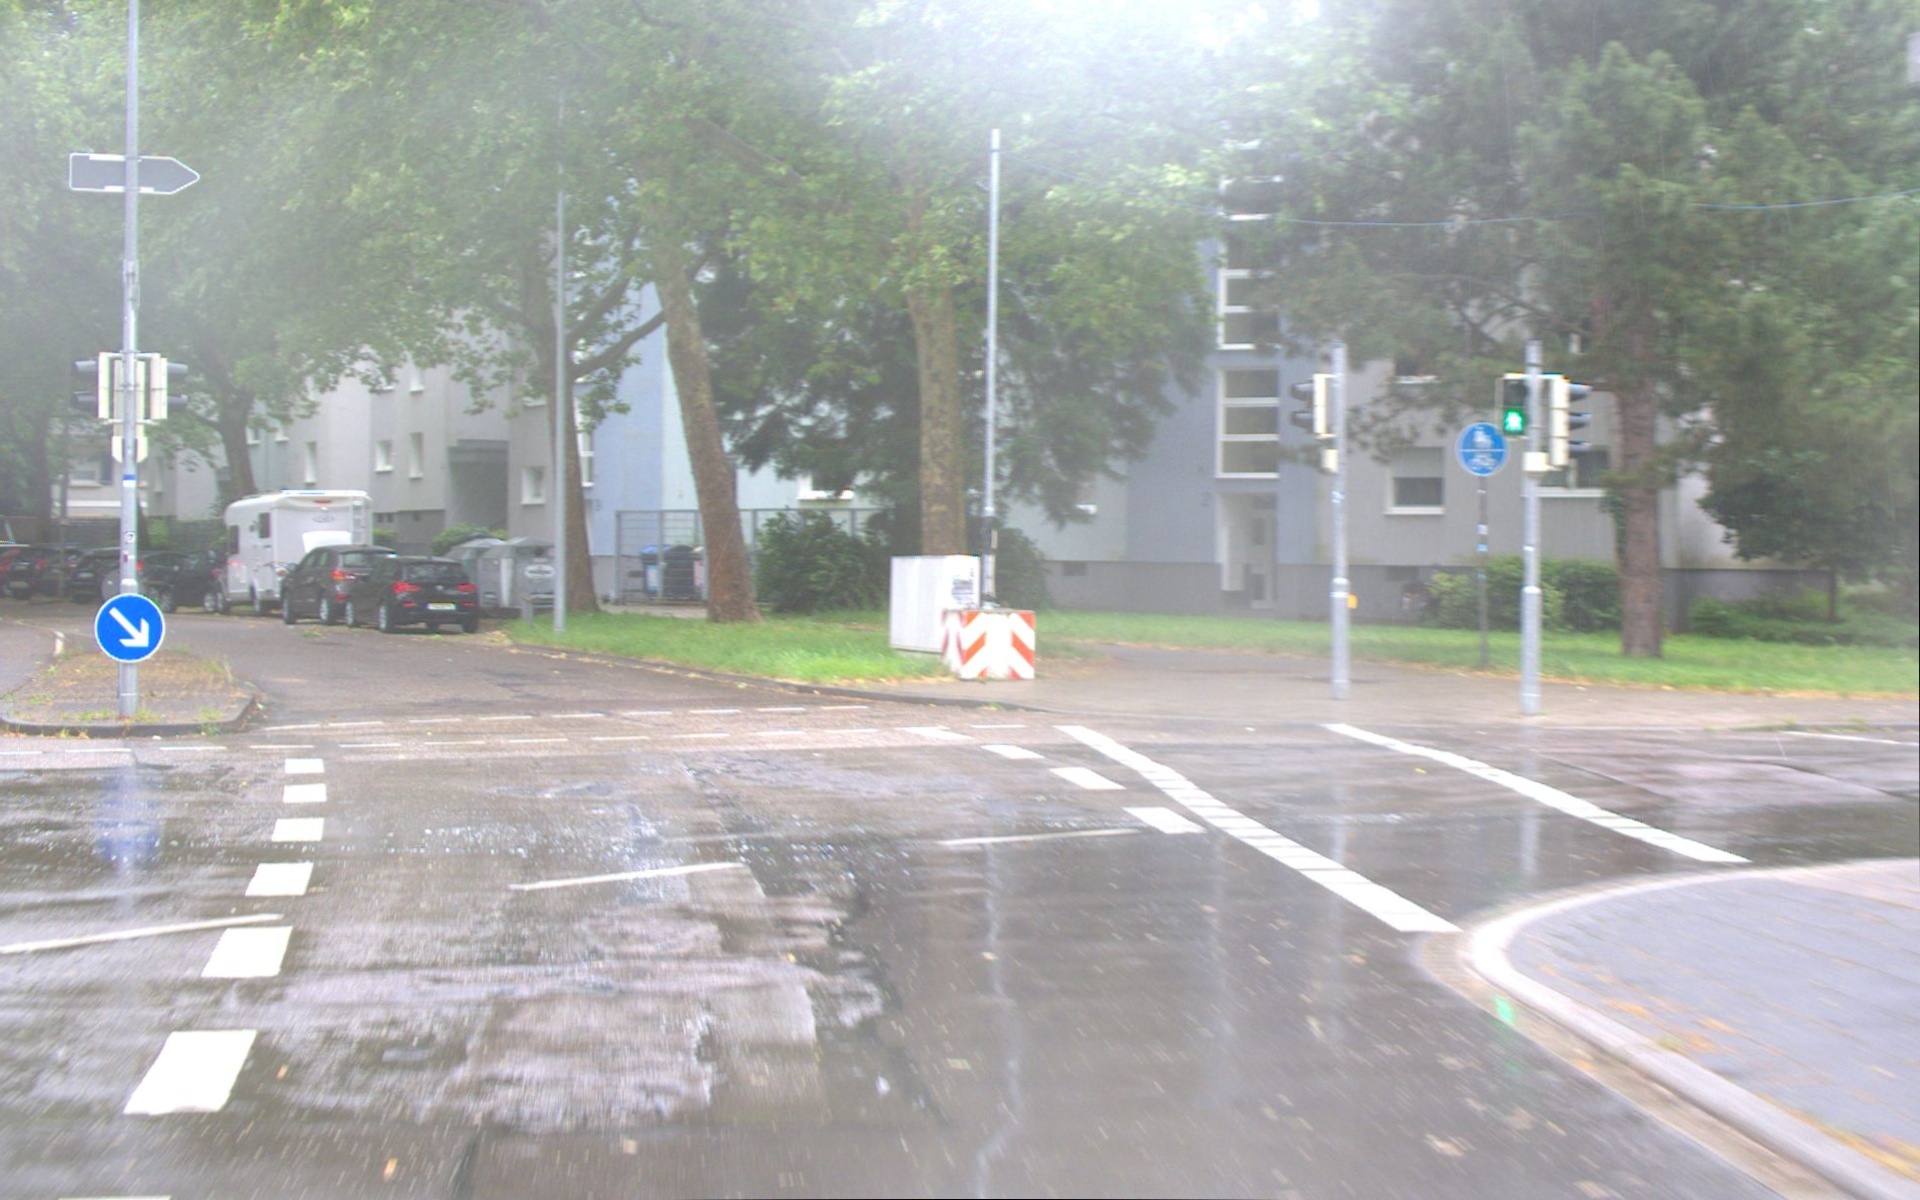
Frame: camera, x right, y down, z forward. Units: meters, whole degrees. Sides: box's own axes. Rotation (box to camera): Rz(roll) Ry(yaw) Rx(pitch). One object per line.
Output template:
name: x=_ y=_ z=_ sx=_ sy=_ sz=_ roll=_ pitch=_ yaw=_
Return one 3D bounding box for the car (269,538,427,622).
car: x=-12.413 y=-0.374 z=69.518 sx=1.915 sy=1.615 sz=4.454 roll=1 pitch=-1 yaw=-27

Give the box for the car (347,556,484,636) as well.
car: x=-10.290 y=-0.089 z=64.753 sx=1.548 sy=1.385 sz=4.150 roll=1 pitch=1 yaw=-23

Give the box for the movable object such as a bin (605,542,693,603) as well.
movable object such as a bin: x=-7.534 y=-0.674 z=83.306 sx=1.213 sy=1.427 sz=1.862 roll=1 pitch=1 yaw=-43

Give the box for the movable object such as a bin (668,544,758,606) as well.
movable object such as a bin: x=-5.906 y=-0.606 z=82.166 sx=1.213 sy=1.427 sz=1.862 roll=1 pitch=1 yaw=-43

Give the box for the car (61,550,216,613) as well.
car: x=-21.881 y=-0.478 z=91.666 sx=1.801 sy=1.596 sz=3.761 roll=2 pitch=1 yaw=34

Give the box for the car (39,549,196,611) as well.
car: x=-23.171 y=-0.541 z=94.671 sx=1.801 sy=1.596 sz=3.992 roll=2 pitch=1 yaw=34

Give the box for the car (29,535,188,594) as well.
car: x=-24.364 y=-1.014 z=98.417 sx=2.033 sy=1.596 sz=3.991 roll=2 pitch=1 yaw=37

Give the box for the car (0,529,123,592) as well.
car: x=-26.805 y=-1.181 z=101.291 sx=1.835 sy=1.691 sz=3.860 roll=2 pitch=4 yaw=37

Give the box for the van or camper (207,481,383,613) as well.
van or camper: x=-14.953 y=-1.186 z=76.944 sx=2.318 sy=2.798 sz=6.865 roll=1 pitch=0 yaw=-24
